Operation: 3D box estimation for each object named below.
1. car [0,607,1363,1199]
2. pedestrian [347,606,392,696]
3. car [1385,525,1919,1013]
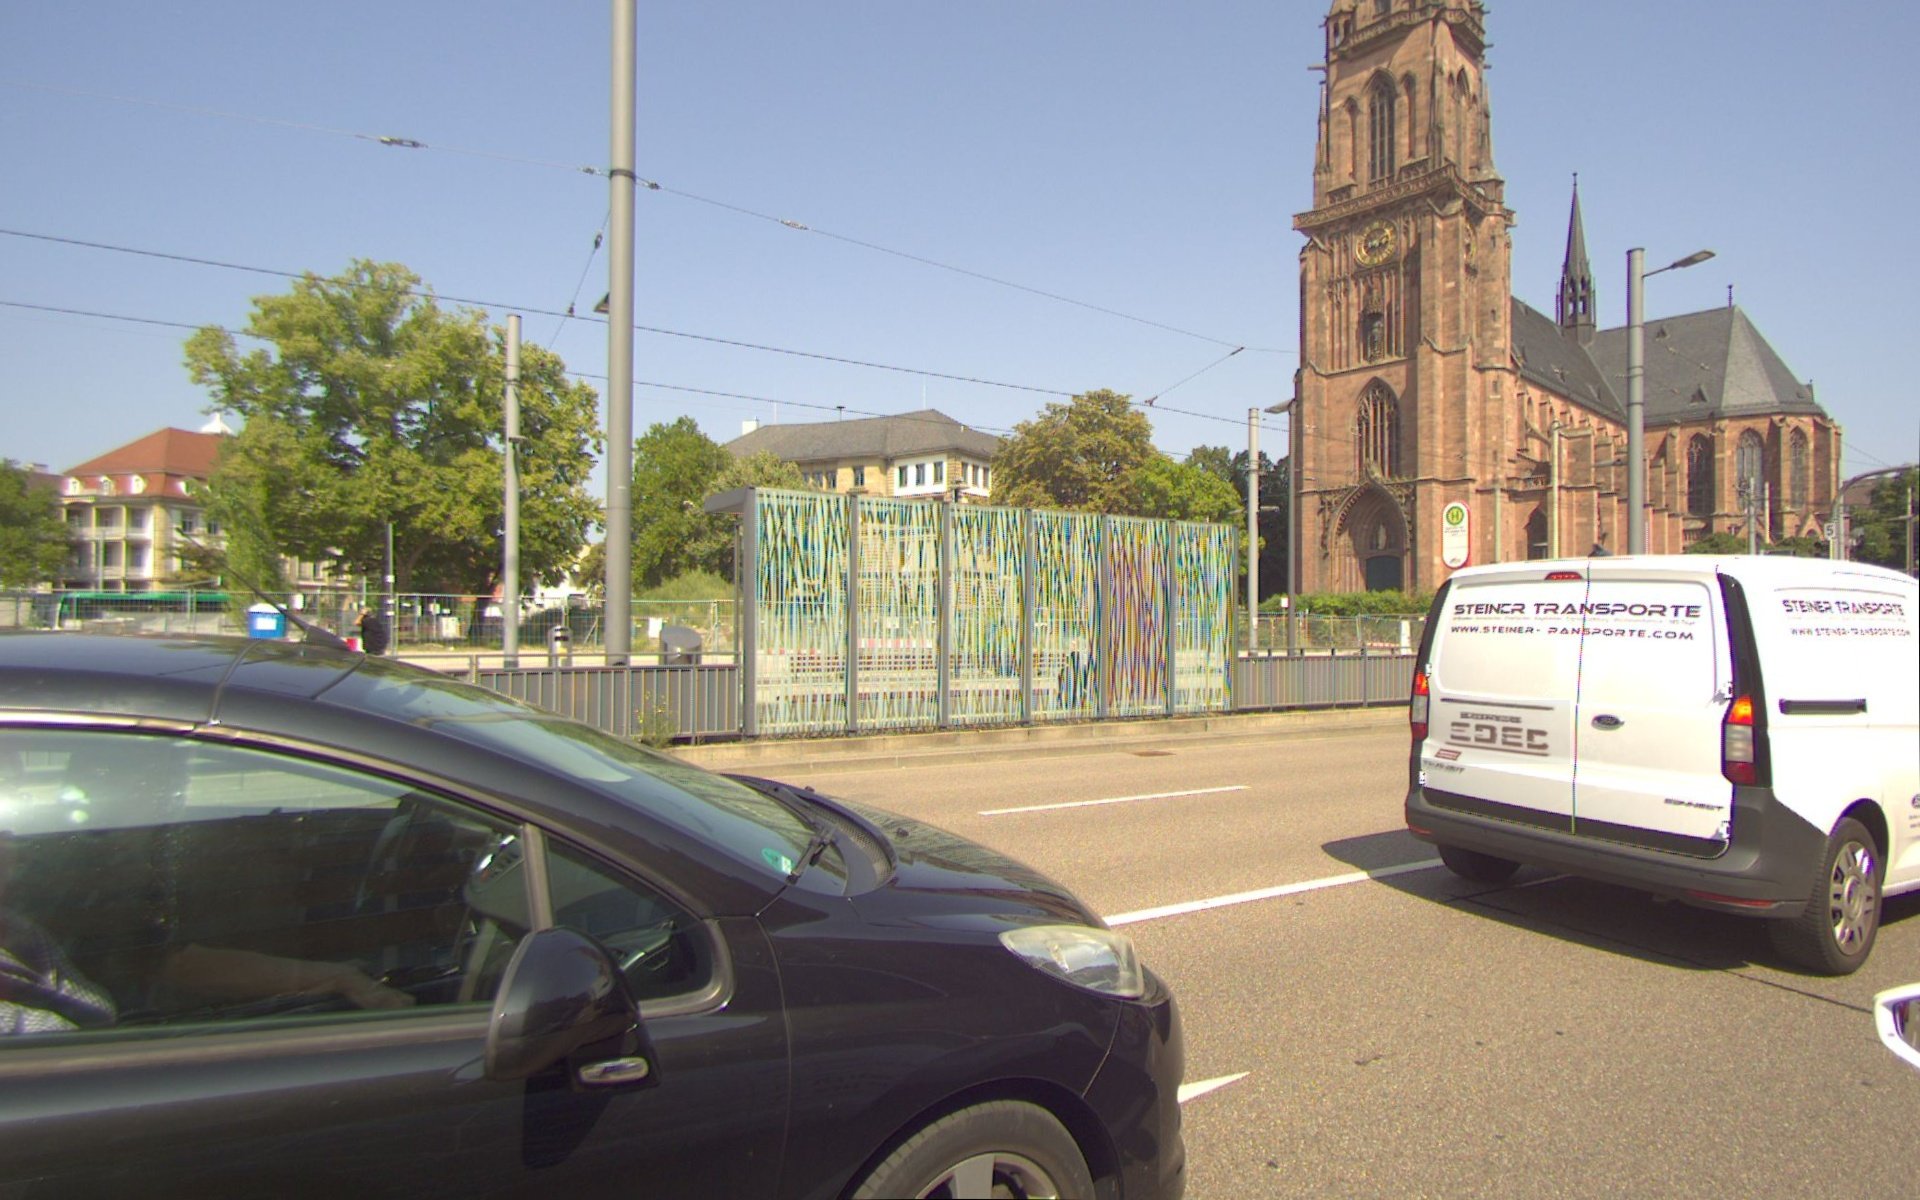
[{"bbox_3d":[-1.188,0.746,1.863,3.758,1.432,1.679,1,0,-31],"label":"car"},{"bbox_3d":[-12.176,1.037,20.733,0.752,1.811,0.740,1,-2,-30],"label":"pedestrian"},{"bbox_3d":[4.484,0.683,5.633,4.190,1.844,1.739,1,-1,-31],"label":"car"}]
